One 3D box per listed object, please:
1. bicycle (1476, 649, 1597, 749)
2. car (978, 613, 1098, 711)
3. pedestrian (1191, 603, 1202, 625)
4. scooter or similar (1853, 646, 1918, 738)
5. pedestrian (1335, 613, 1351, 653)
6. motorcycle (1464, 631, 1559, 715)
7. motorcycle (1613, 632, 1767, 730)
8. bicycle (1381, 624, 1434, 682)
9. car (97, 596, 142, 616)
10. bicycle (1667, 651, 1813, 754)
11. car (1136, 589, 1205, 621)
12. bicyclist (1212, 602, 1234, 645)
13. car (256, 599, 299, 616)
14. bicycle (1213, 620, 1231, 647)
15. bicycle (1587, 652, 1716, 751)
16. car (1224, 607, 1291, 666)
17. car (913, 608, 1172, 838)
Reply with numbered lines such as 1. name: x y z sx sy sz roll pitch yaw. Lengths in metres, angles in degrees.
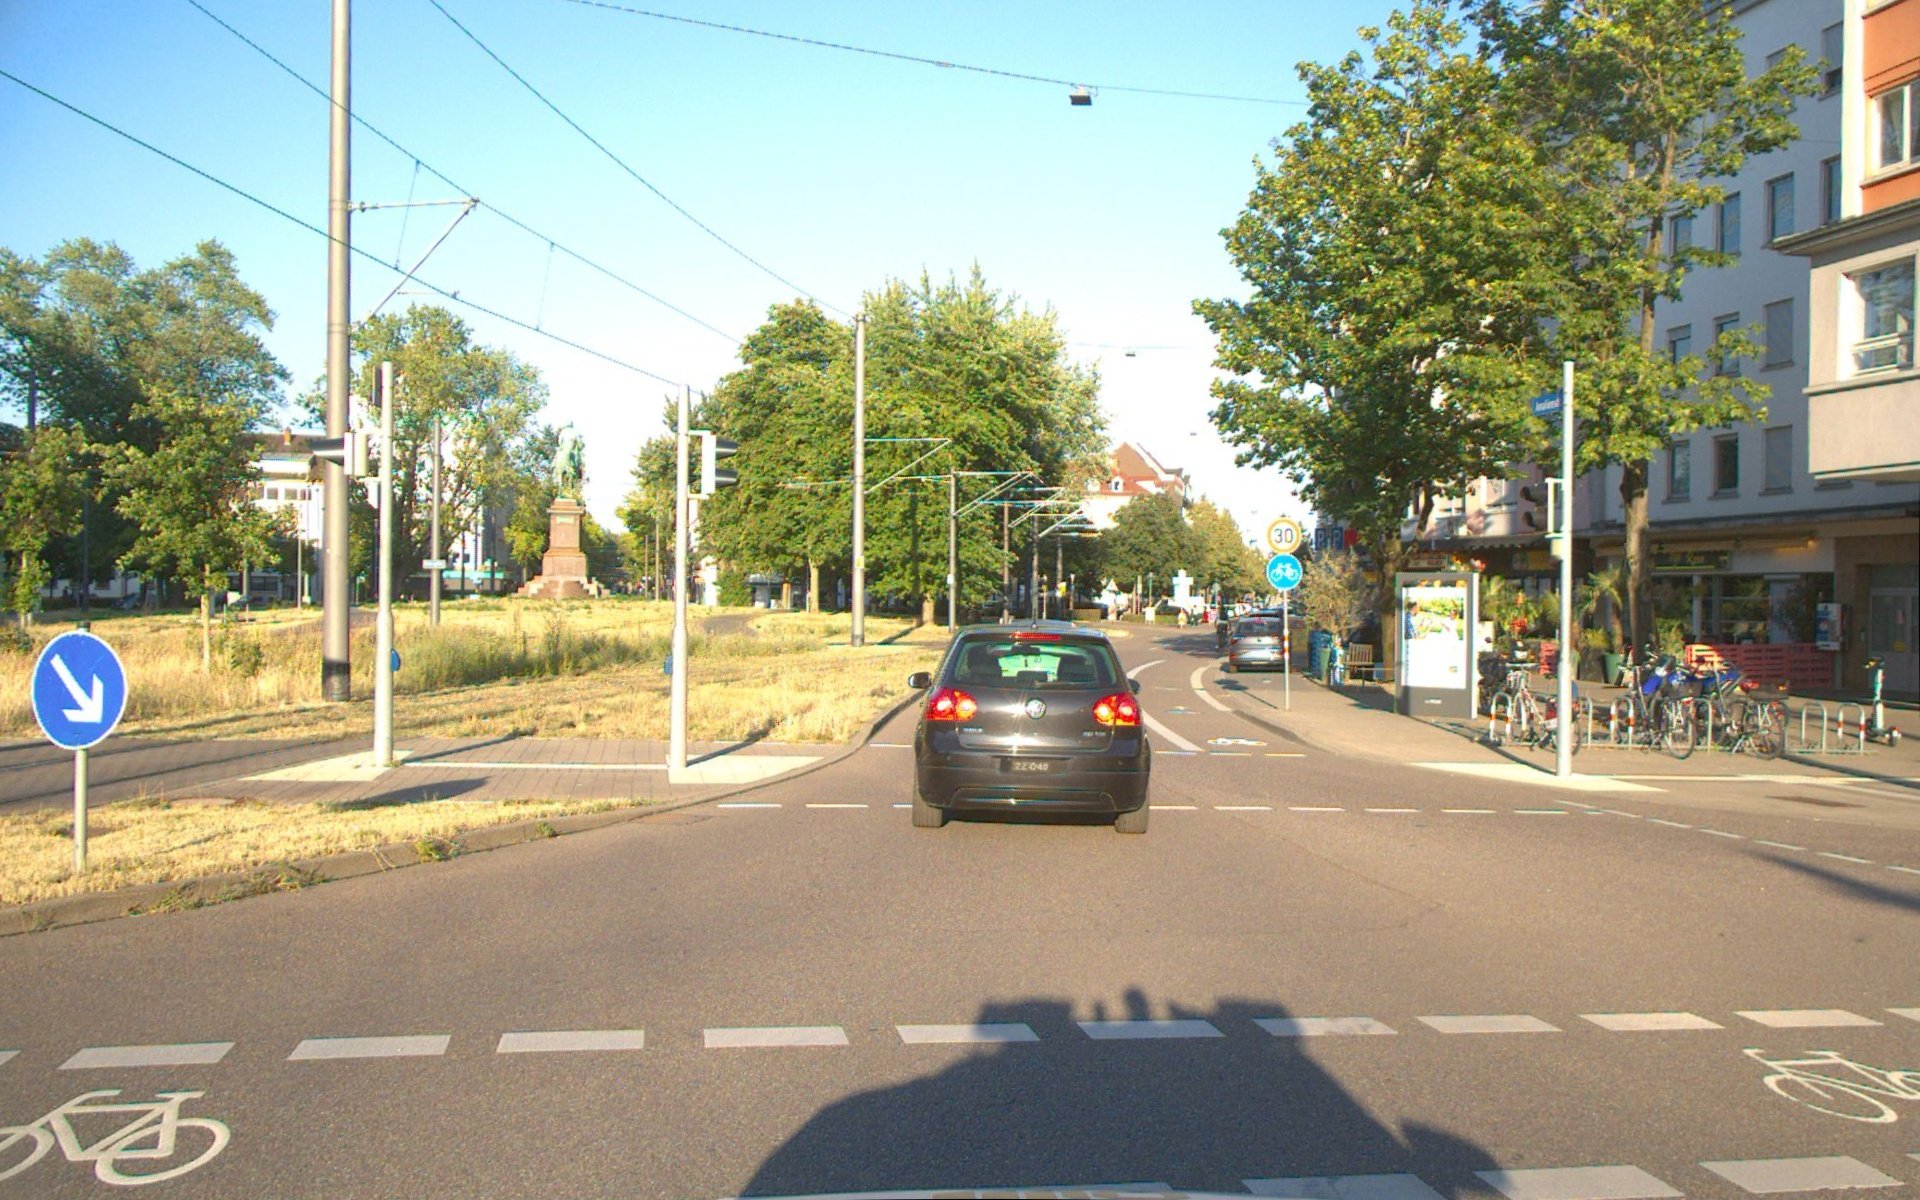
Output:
1. bicycle: 7.411 1.249 21.356 0.633 1.146 1.870 1 1 -10
2. car: 1.415 1.009 28.588 1.825 1.466 4.200 0 1 6
3. pedestrian: 17.404 1.032 121.758 0.720 1.582 0.632 1 0 8
4. scooter or similar: 13.537 1.333 24.215 0.406 1.276 1.184 1 0 8
5. pedestrian: 17.189 1.492 74.204 0.609 1.770 0.662 -2 -1 13
6. motorcycle: 8.990 1.170 27.056 0.653 1.264 2.198 1 0 -5
7. motorcycle: 11.064 1.220 25.101 2.003 1.431 0.760 1 0 -4
8. bicycle: 9.910 1.163 36.669 0.412 1.178 1.751 1 1 -10
9. car: -59.712 0.415 117.543 1.535 1.280 3.725 -2 1 -5
10. bicycle: 10.276 1.326 21.884 0.633 1.178 2.119 1 1 -10
11. car: 17.964 0.412 141.375 5.418 2.640 2.147 1 0 -15
12. bicyclist: 10.266 0.916 64.458 0.760 1.646 1.026 2 0 12
13. car: -59.590 0.661 144.500 3.283 1.385 1.514 1 0 -15
14. bicycle: 10.227 1.308 64.477 0.566 1.004 1.937 2 0 12
15. bicycle: 9.011 1.299 21.631 0.633 1.146 1.870 1 1 -10
16. car: 8.234 0.978 45.586 1.691 1.498 3.902 -2 0 11
17. car: 0.583 0.838 13.191 1.711 1.486 4.103 1 0 1
